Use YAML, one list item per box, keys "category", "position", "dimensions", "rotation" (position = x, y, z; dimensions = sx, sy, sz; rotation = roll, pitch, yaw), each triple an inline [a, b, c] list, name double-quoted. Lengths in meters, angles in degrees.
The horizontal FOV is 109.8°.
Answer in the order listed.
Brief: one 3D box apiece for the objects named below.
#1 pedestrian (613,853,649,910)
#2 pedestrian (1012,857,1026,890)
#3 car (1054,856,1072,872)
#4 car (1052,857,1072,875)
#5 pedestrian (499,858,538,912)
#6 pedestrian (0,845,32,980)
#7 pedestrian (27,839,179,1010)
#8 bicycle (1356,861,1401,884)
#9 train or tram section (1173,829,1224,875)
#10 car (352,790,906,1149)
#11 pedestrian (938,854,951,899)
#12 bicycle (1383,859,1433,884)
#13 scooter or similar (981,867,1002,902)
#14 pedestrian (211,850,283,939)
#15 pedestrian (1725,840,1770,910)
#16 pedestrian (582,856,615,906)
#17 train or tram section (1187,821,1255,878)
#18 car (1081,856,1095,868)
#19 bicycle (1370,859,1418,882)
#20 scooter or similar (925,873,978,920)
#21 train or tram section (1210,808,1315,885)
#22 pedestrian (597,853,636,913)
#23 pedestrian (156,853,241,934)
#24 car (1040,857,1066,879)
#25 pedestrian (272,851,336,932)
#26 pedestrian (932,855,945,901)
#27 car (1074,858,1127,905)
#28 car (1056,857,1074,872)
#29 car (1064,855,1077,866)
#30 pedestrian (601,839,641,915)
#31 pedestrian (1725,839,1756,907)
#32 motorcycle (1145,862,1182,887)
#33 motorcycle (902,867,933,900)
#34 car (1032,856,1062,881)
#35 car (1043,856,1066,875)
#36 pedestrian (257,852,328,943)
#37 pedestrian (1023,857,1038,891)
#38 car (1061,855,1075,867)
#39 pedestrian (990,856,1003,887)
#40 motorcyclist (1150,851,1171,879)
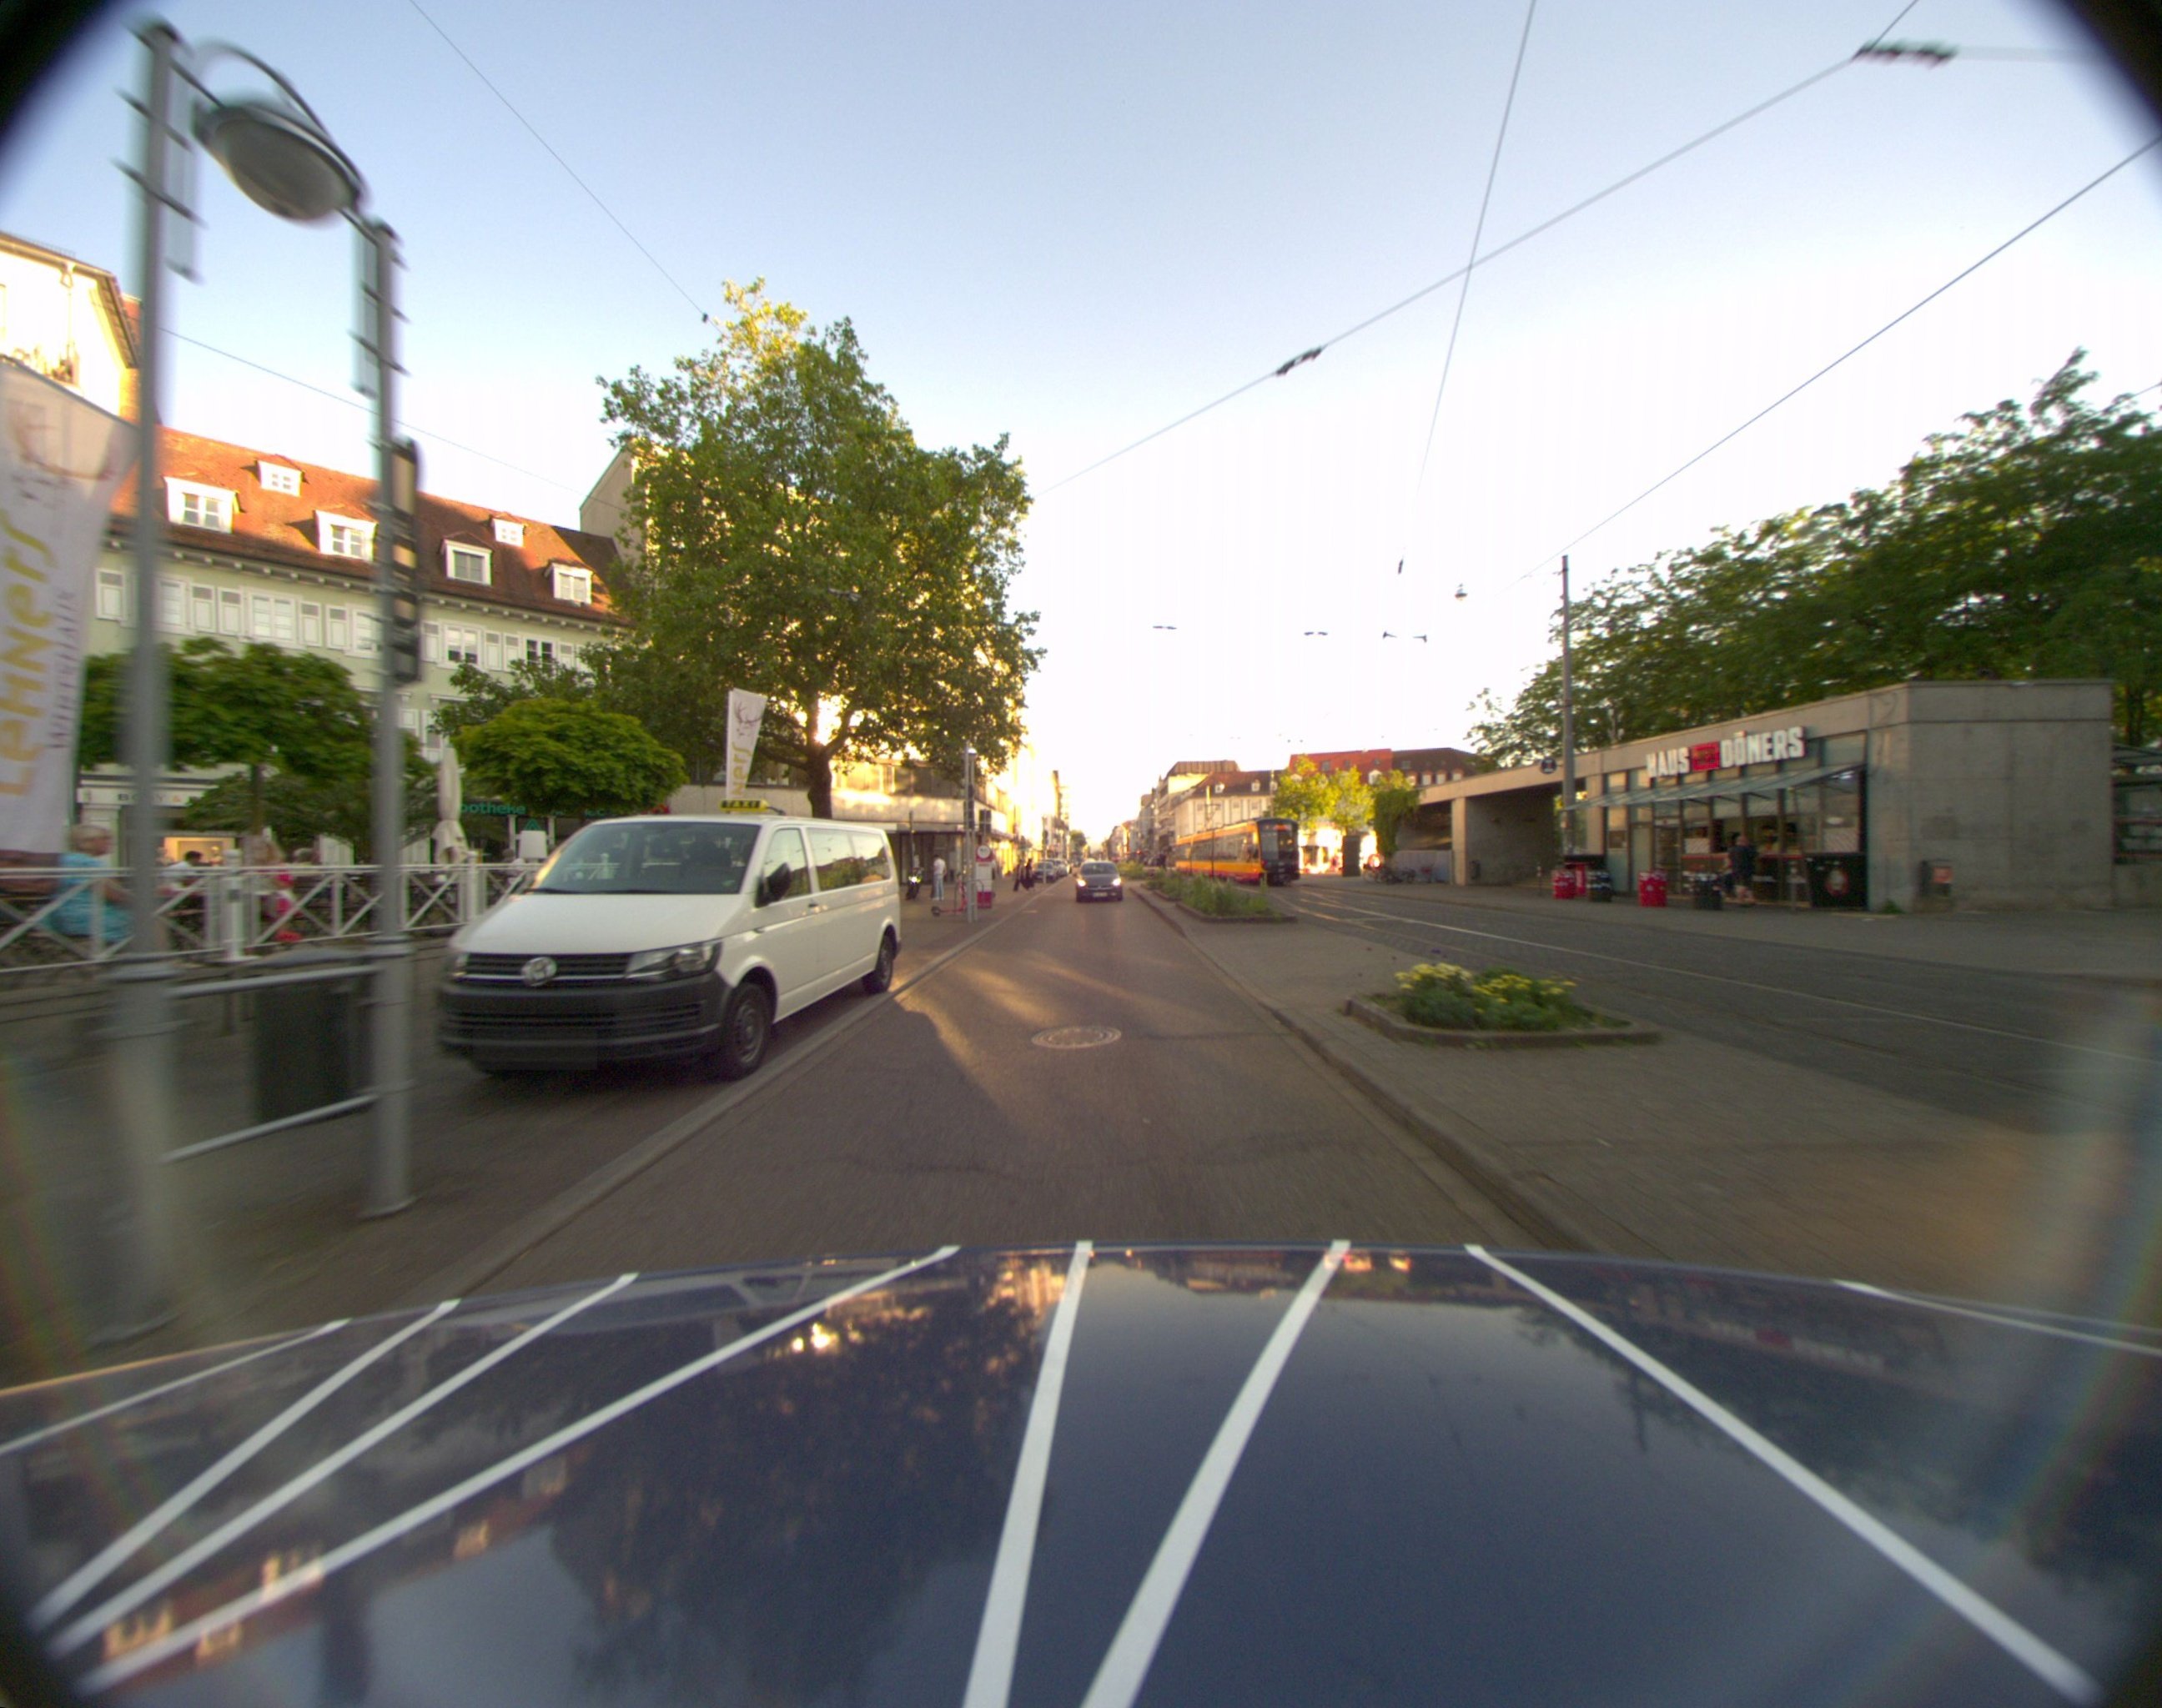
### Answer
- category: "pedestrian"
  position: [-10.454, 0.639, 17.661]
  dimensions: [0.532, 1.289, 0.491]
  rotation: [-1, 0, 1]
- category: "pedestrian"
  position: [-3.098, 0.983, 38.067]
  dimensions: [0.638, 1.616, 0.519]
  rotation: [-1, 1, -10]
- category: "car"
  position: [-1.869, 1.027, 79.791]
  dimensions: [1.771, 1.565, 4.000]
  rotation: [1, 0, 1]
- category: "car"
  position: [-1.789, 1.122, 72.243]
  dimensions: [1.771, 1.565, 4.000]
  rotation: [1, 0, 1]
- category: "pedestrian"
  position: [-13.593, 0.742, 18.370]
  dimensions: [0.532, 1.289, 0.491]
  rotation: [-1, 0, 1]
- category: "pedestrian"
  position: [-10.863, 0.579, 7.419]
  dimensions: [0.532, 1.325, 0.491]
  rotation: [-1, 0, 1]
- category: "pedestrian"
  position: [-7.772, 0.534, 6.063]
  dimensions: [0.532, 1.288, 0.490]
  rotation: [-1, 0, -14]
- category: "bicycle"
  position: [15.974, 0.984, 40.807]
  dimensions: [2.131, 1.153, 0.692]
  rotation: [-1, 0, 2]
- category: "train or tram section"
  position: [10.312, -0.117, 67.774]
  dimensions: [2.902, 3.664, 10.785]
  rotation: [-1, 0, 1]
- category: "car"
  position: [-3.197, 0.660, 6.970]
  dimensions: [1.857, 2.055, 5.215]
  rotation: [0, 0, 1]
- category: "pedestrian"
  position: [-5.247, 0.852, 29.226]
  dimensions: [0.432, 1.726, 0.409]
  rotation: [0, 0, -18]
- category: "bicycle"
  position: [16.110, 0.851, 37.447]
  dimensions: [2.131, 1.153, 0.692]
  rotation: [-1, 0, 2]
- category: "scooter or similar"
  position: [-3.341, 1.117, 28.451]
  dimensions: [0.534, 1.225, 1.656]
  rotation: [1, 1, 1]
- category: "pedestrian"
  position: [-12.721, 0.609, 11.603]
  dimensions: [0.490, 1.325, 0.532]
  rotation: [-1, 0, 1]
- category: "pedestrian"
  position: [15.976, 0.490, 18.214]
  dimensions: [0.563, 1.643, 0.552]
  rotation: [-2, 1, -5]
- category: "pedestrian"
  position: [-12.590, 0.700, 19.836]
  dimensions: [0.532, 1.289, 0.491]
  rotation: [-1, 0, 1]
- category: "train or tram section"
  position: [10.149, -0.250, 56.421]
  dimensions: [2.902, 3.664, 11.984]
  rotation: [-1, 0, 1]
- category: "car"
  position: [0.972, 1.108, 102.094]
  dimensions: [1.810, 1.474, 4.284]
  rotation: [-3, 0, 1]
- category: "bicycle"
  position: [16.082, 0.855, 39.068]
  dimensions: [2.131, 1.153, 0.692]
  rotation: [-1, 0, 2]
- category: "scooter or similar"
  position: [-3.539, 1.146, 20.751]
  dimensions: [1.345, 1.225, 0.535]
  rotation: [1, 1, -2]
- category: "train or tram section"
  position: [10.000, -0.322, 43.725]
  dimensions: [2.902, 3.664, 13.482]
  rotation: [-1, 0, 1]
- category: "pedestrian"
  position: [-10.262, 0.629, 16.800]
  dimensions: [0.490, 1.289, 0.532]
  rotation: [-1, 0, 1]
- category: "pedestrian"
  position: [-14.931, 0.661, 12.866]
  dimensions: [0.628, 1.325, 0.664]
  rotation: [-1, 0, 1]
- category: "car"
  position: [-2.147, 1.042, 59.299]
  dimensions: [1.771, 1.565, 4.000]
  rotation: [1, 0, 1]
- category: "pedestrian"
  position: [-13.010, 0.621, 12.739]
  dimensions: [0.490, 1.325, 0.532]
  rotation: [-1, 0, 1]
- category: "pedestrian"
  position: [-5.360, 0.898, 28.619]
  dimensions: [0.431, 1.726, 0.410]
  rotation: [0, 0, -3]
- category: "car"
  position: [0.711, 0.947, 27.881]
  dimensions: [1.738, 1.495, 4.000]
  rotation: [-2, 0, 1]
- category: "car"
  position: [-1.778, 1.116, 84.706]
  dimensions: [1.771, 1.565, 4.000]
  rotation: [1, 0, 1]
- category: "car"
  position: [-1.461, 0.927, 109.159]
  dimensions: [1.771, 1.565, 4.000]
  rotation: [1, 0, 1]
- category: "pedestrian"
  position: [-9.647, 0.481, 15.946]
  dimensions: [0.490, 1.549, 0.532]
  rotation: [-1, 0, 1]
- category: "pedestrian"
  position: [16.389, 0.470, 18.893]
  dimensions: [0.394, 1.643, 0.401]
  rotation: [-2, 1, -5]
- category: "motorcycle"
  position: [4.418, 1.080, 40.621]
  dimensions: [1.781, 1.230, 0.805]
  rotation: [-2, 1, -23]
- category: "motorcycle"
  position: [-6.112, 1.080, 28.472]
  dimensions: [0.705, 1.179, 1.968]
  rotation: [0, 0, 1]
- category: "car"
  position: [-2.318, 0.959, 52.030]
  dimensions: [1.771, 1.565, 4.000]
  rotation: [1, 0, 1]
- category: "car"
  position: [-2.254, 0.972, 66.201]
  dimensions: [1.771, 1.565, 4.000]
  rotation: [1, 0, 1]
- category: "pedestrian"
  position: [-11.837, 0.643, 11.418]
  dimensions: [0.532, 1.325, 0.491]
  rotation: [-1, 0, 1]
- category: "pedestrian"
  position: [-2.477, 0.987, 37.278]
  dimensions: [0.638, 1.616, 0.519]
  rotation: [-1, 1, -10]
- category: "car"
  position: [-1.713, 0.982, 104.440]
  dimensions: [1.771, 1.565, 4.000]
  rotation: [1, 0, 1]
- category: "pedestrian"
  position: [-4.529, 0.945, 40.620]
  dimensions: [0.638, 1.616, 0.519]
  rotation: [-1, 1, -10]
- category: "motorcyclist"
  position: [4.232, 0.590, 40.540]
  dimensions: [0.801, 1.431, 0.798]
  rotation: [-3, 1, -24]
